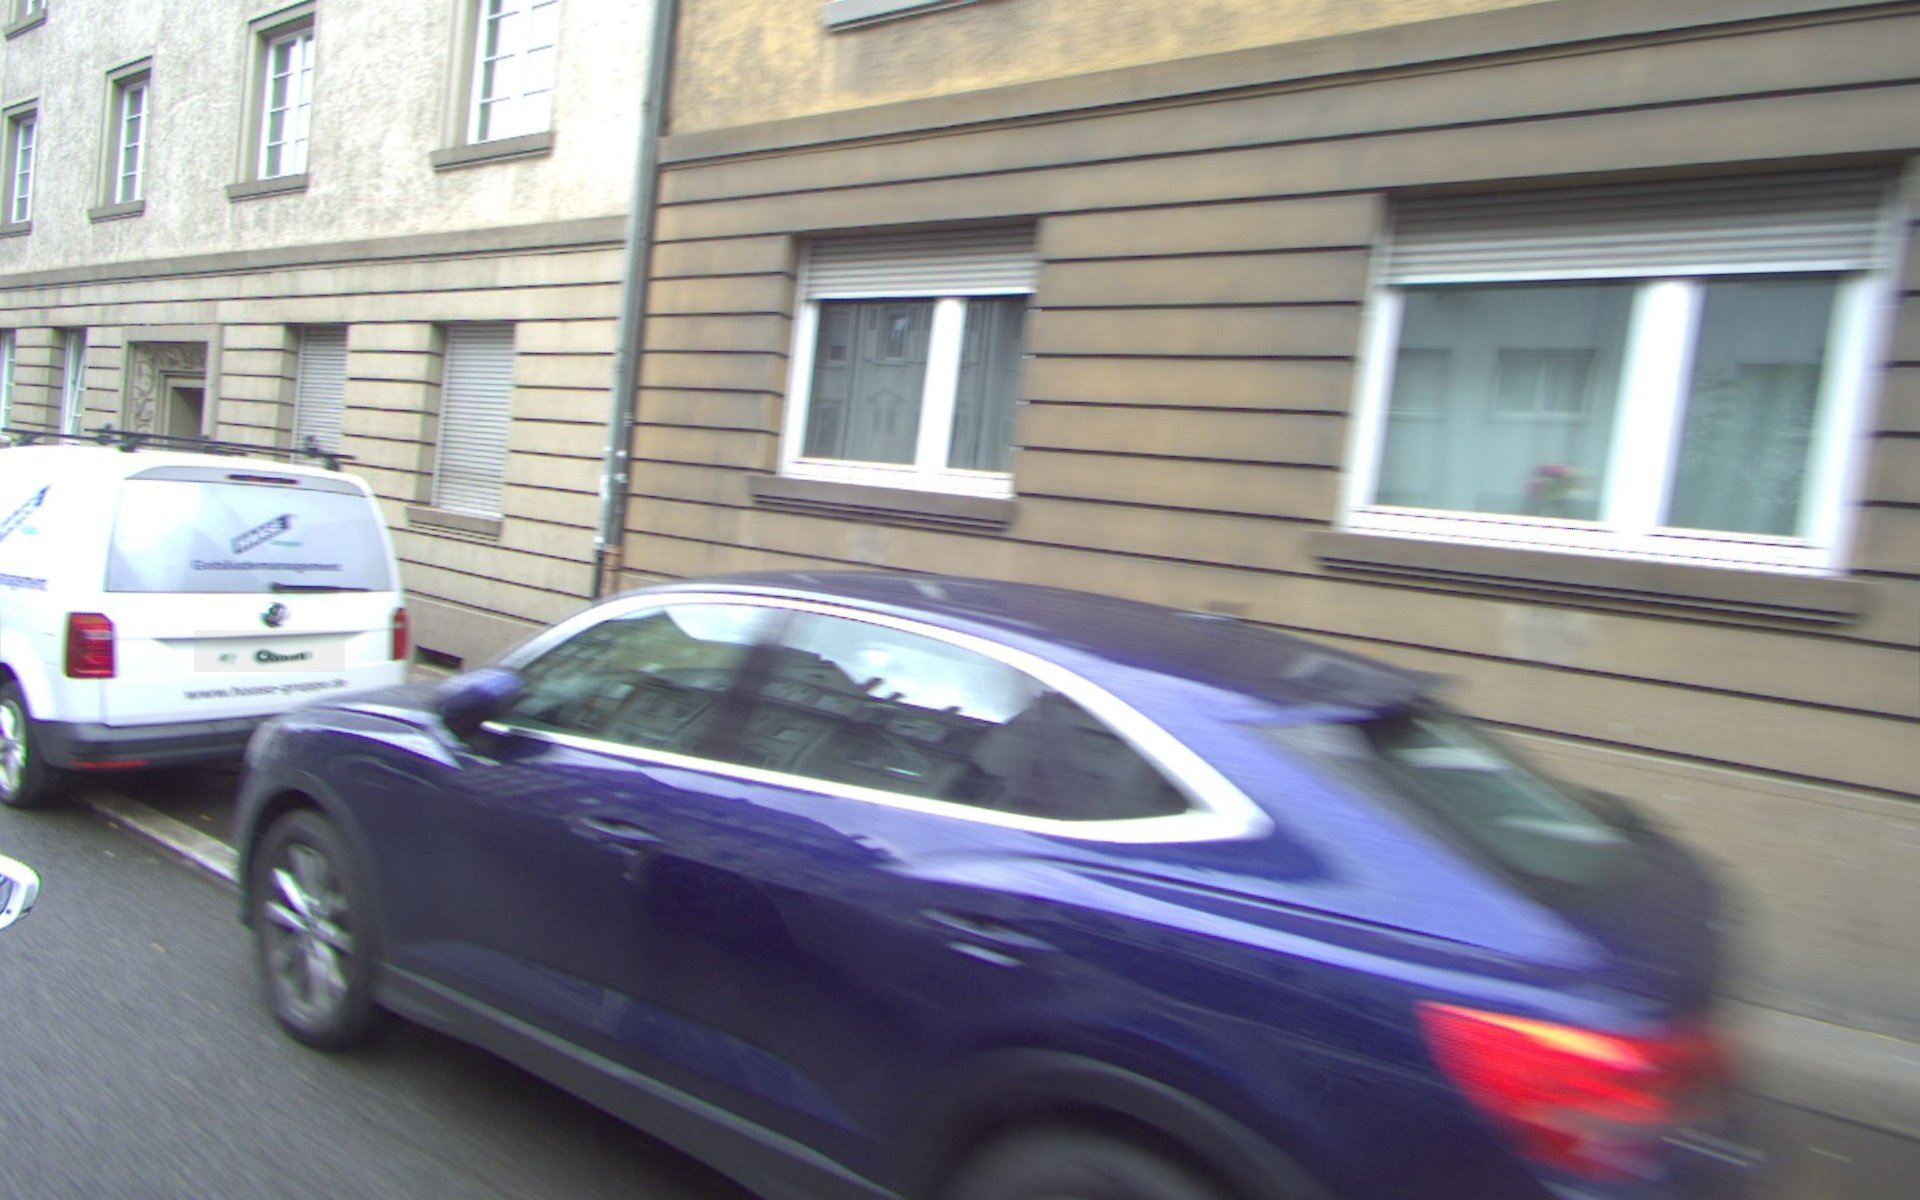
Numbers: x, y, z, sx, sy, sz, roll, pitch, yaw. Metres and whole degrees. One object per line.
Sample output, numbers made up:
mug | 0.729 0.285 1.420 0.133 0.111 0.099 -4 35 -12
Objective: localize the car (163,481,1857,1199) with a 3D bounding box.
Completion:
car | -0.390 0.624 2.995 4.155 1.569 1.790 7 3 32

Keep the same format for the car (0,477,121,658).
car | -9.579 -0.463 8.987 4.313 1.428 1.841 7 3 30

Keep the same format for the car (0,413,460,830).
car | -5.182 -0.080 6.237 4.011 1.842 1.791 7 3 31
